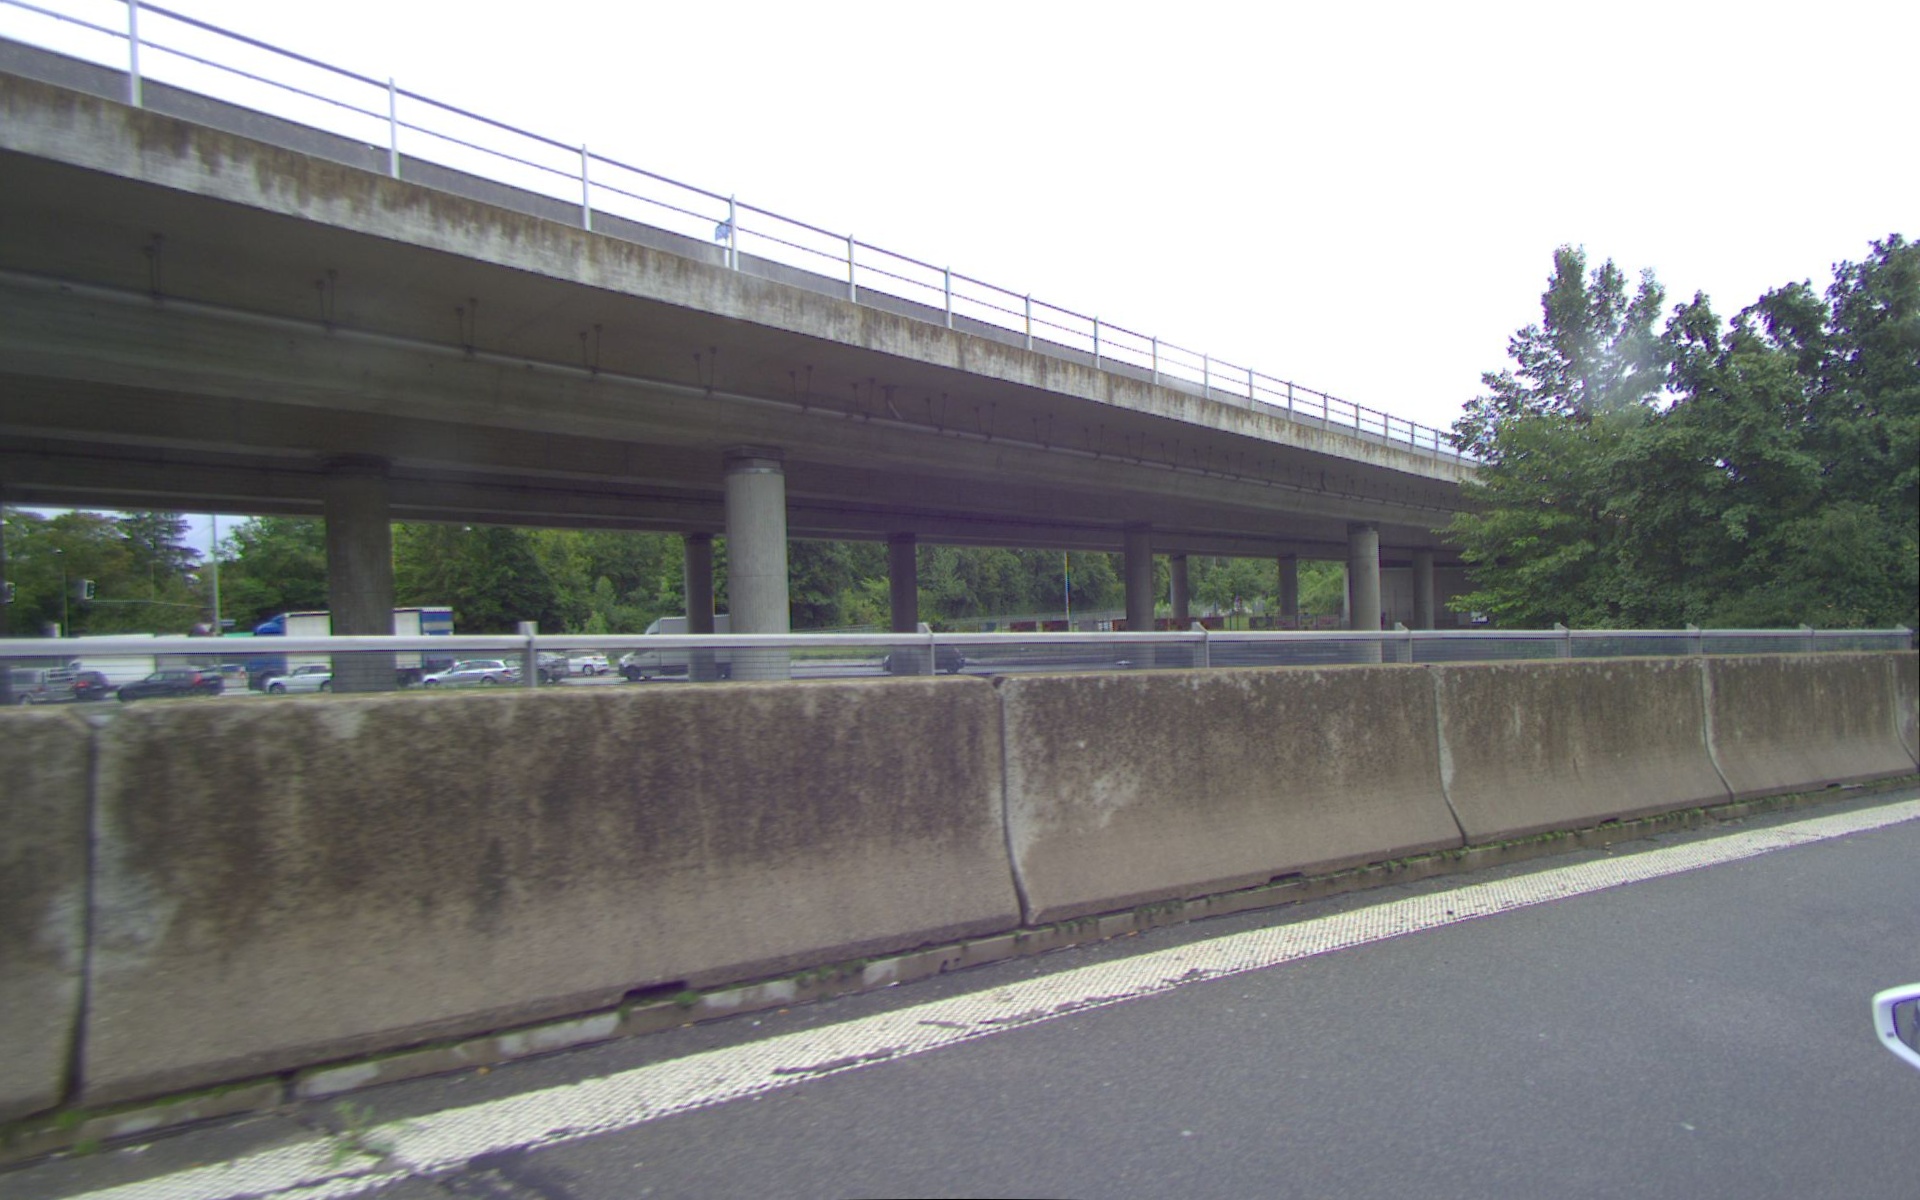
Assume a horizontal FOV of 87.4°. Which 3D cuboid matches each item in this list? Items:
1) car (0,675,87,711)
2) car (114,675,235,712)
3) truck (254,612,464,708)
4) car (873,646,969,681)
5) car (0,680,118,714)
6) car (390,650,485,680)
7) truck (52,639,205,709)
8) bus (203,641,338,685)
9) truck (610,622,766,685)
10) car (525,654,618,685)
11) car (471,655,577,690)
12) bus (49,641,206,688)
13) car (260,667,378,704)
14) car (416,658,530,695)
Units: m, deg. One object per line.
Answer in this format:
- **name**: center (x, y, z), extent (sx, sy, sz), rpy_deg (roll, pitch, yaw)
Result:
- **car**: center (-46.387, 4.598, 49.845), extent (4.499, 1.627, 1.976), rpy_deg (-1, -2, 3)
- **car**: center (-38.302, 4.546, 49.049), extent (4.499, 1.604, 1.976), rpy_deg (-1, -2, 4)
- **truck**: center (-30.792, 3.066, 51.638), extent (9.408, 4.652, 2.801), rpy_deg (-1, -2, 6)
- **car**: center (-1.856, 3.077, 48.834), extent (4.499, 1.604, 1.976), rpy_deg (-1, -2, 3)
- **car**: center (-47.343, 5.087, 52.825), extent (4.499, 1.627, 1.976), rpy_deg (-1, -2, 3)
- **car**: center (-29.862, 3.705, 57.490), extent (4.498, 1.604, 1.977), rpy_deg (-1, -2, 6)
- **truck**: center (-46.509, 4.108, 56.267), extent (6.509, 3.728, 2.801), rpy_deg (-1, -2, 6)
- **bus**: center (-61.410, 5.562, 89.698), extent (9.823, 3.750, 2.207), rpy_deg (2, -2, -38)
- **truck**: center (-13.444, 2.635, 49.849), extent (7.086, 3.016, 2.262), rpy_deg (0, -2, 7)
- **car**: center (-21.962, 3.903, 56.827), extent (4.498, 1.604, 1.977), rpy_deg (-1, -2, 5)
- **car**: center (-22.010, 3.661, 50.755), extent (4.498, 1.604, 1.977), rpy_deg (-1, -2, 6)
- **bus**: center (-69.402, 5.308, 84.071), extent (9.805, 3.750, 2.211), rpy_deg (2, -1, -33)
- **car**: center (-30.949, 4.107, 48.572), extent (4.499, 1.604, 1.976), rpy_deg (-1, -2, 3)
- **car**: center (-23.159, 3.620, 47.894), extent (4.499, 1.604, 1.976), rpy_deg (-1, -2, 3)
